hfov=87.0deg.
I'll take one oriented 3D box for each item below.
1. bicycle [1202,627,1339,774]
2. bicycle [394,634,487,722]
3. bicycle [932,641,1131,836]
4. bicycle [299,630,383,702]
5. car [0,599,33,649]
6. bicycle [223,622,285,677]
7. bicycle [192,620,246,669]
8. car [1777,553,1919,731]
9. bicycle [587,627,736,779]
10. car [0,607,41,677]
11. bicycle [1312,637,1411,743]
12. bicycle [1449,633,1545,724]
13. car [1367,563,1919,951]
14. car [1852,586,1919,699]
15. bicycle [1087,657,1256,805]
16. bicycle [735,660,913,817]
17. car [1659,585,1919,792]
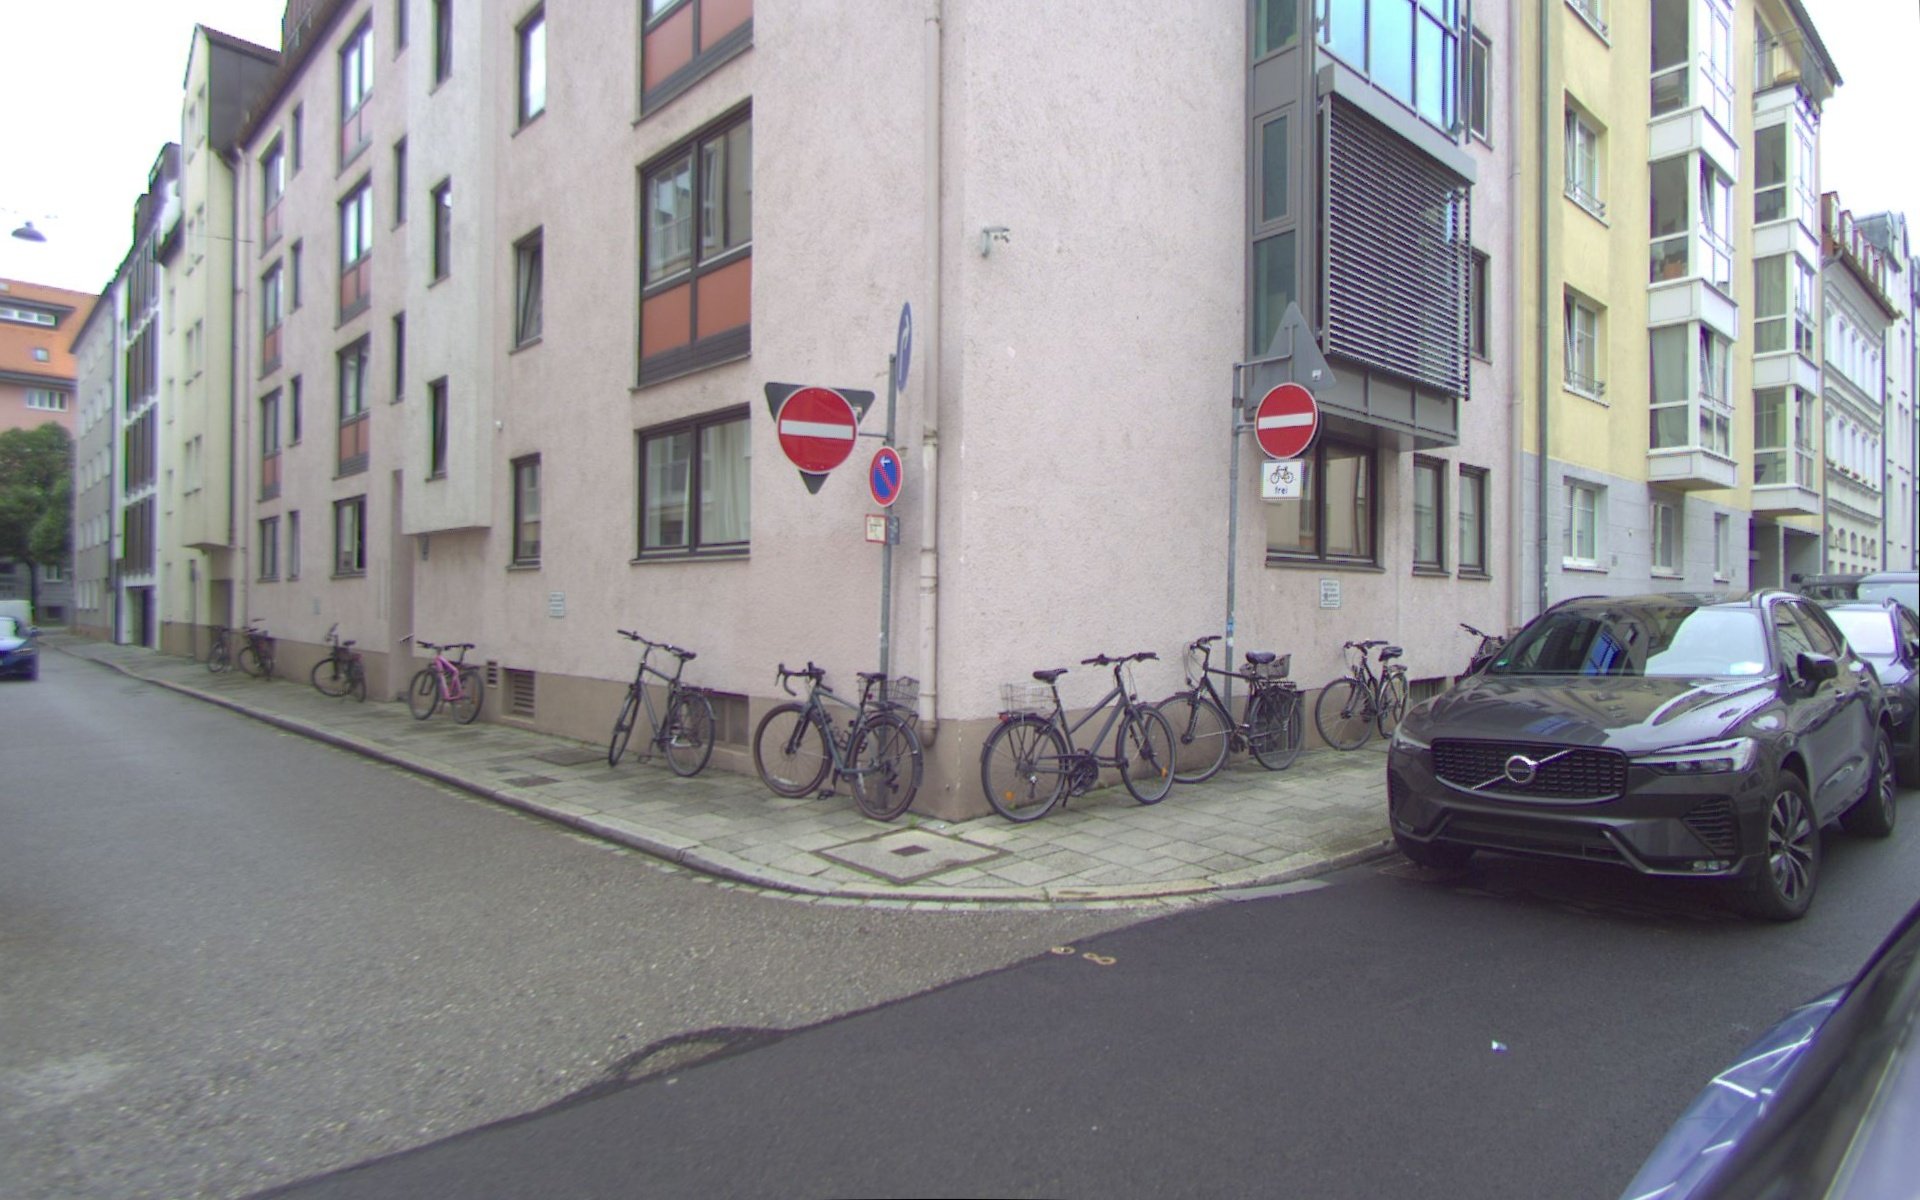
[{"bbox_3d":[2.678,0.809,8.648,1.515,1.136,0.357,0,-1,-40],"label":"bicycle"},{"bbox_3d":[-6.758,0.978,13.131,0.601,1.004,1.732,1,-1,-44],"label":"bicycle"},{"bbox_3d":[0.504,0.871,6.809,1.333,1.140,0.552,1,-1,-40],"label":"bicycle"},{"bbox_3d":[-9.872,1.020,16.116,1.901,1.036,0.640,0,-1,43],"label":"bicycle"},{"bbox_3d":[-39.356,0.948,41.492,3.722,1.879,1.687,3,1,43],"label":"car"},{"bbox_3d":[-14.362,0.986,20.568,1.901,1.036,0.640,0,-1,43],"label":"bicycle"},{"bbox_3d":[-16.837,0.998,22.986,1.901,1.036,0.640,0,-1,43],"label":"bicycle"},{"bbox_3d":[12.693,0.452,13.536,5.018,2.039,1.875,-1,-1,-41],"label":"car"},{"bbox_3d":[-2.715,0.866,9.108,0.543,1.194,1.732,1,-1,-44],"label":"bicycle"},{"bbox_3d":[-21.801,0.893,22.517,3.722,1.324,1.711,3,2,43],"label":"car"},{"bbox_3d":[3.961,0.856,9.953,1.247,0.959,0.357,0,-1,-40],"label":"bicycle"},{"bbox_3d":[6.289,0.884,11.820,1.548,0.959,0.442,0,-1,-40],"label":"bicycle"},{"bbox_3d":[4.540,0.662,6.423,4.334,1.642,1.835,-1,-1,-41],"label":"car"},{"bbox_3d":[16.289,0.633,16.649,4.154,1.707,1.836,0,-1,-41],"label":"car"},{"bbox_3d":[1.618,0.942,7.670,1.333,0.959,0.552,0,-1,-40],"label":"bicycle"},{"bbox_3d":[-1.028,0.958,7.417,0.543,0.959,1.449,1,-1,-44],"label":"bicycle"},{"bbox_3d":[8.667,0.703,10.051,4.249,1.642,1.835,0,-1,-41],"label":"car"}]
